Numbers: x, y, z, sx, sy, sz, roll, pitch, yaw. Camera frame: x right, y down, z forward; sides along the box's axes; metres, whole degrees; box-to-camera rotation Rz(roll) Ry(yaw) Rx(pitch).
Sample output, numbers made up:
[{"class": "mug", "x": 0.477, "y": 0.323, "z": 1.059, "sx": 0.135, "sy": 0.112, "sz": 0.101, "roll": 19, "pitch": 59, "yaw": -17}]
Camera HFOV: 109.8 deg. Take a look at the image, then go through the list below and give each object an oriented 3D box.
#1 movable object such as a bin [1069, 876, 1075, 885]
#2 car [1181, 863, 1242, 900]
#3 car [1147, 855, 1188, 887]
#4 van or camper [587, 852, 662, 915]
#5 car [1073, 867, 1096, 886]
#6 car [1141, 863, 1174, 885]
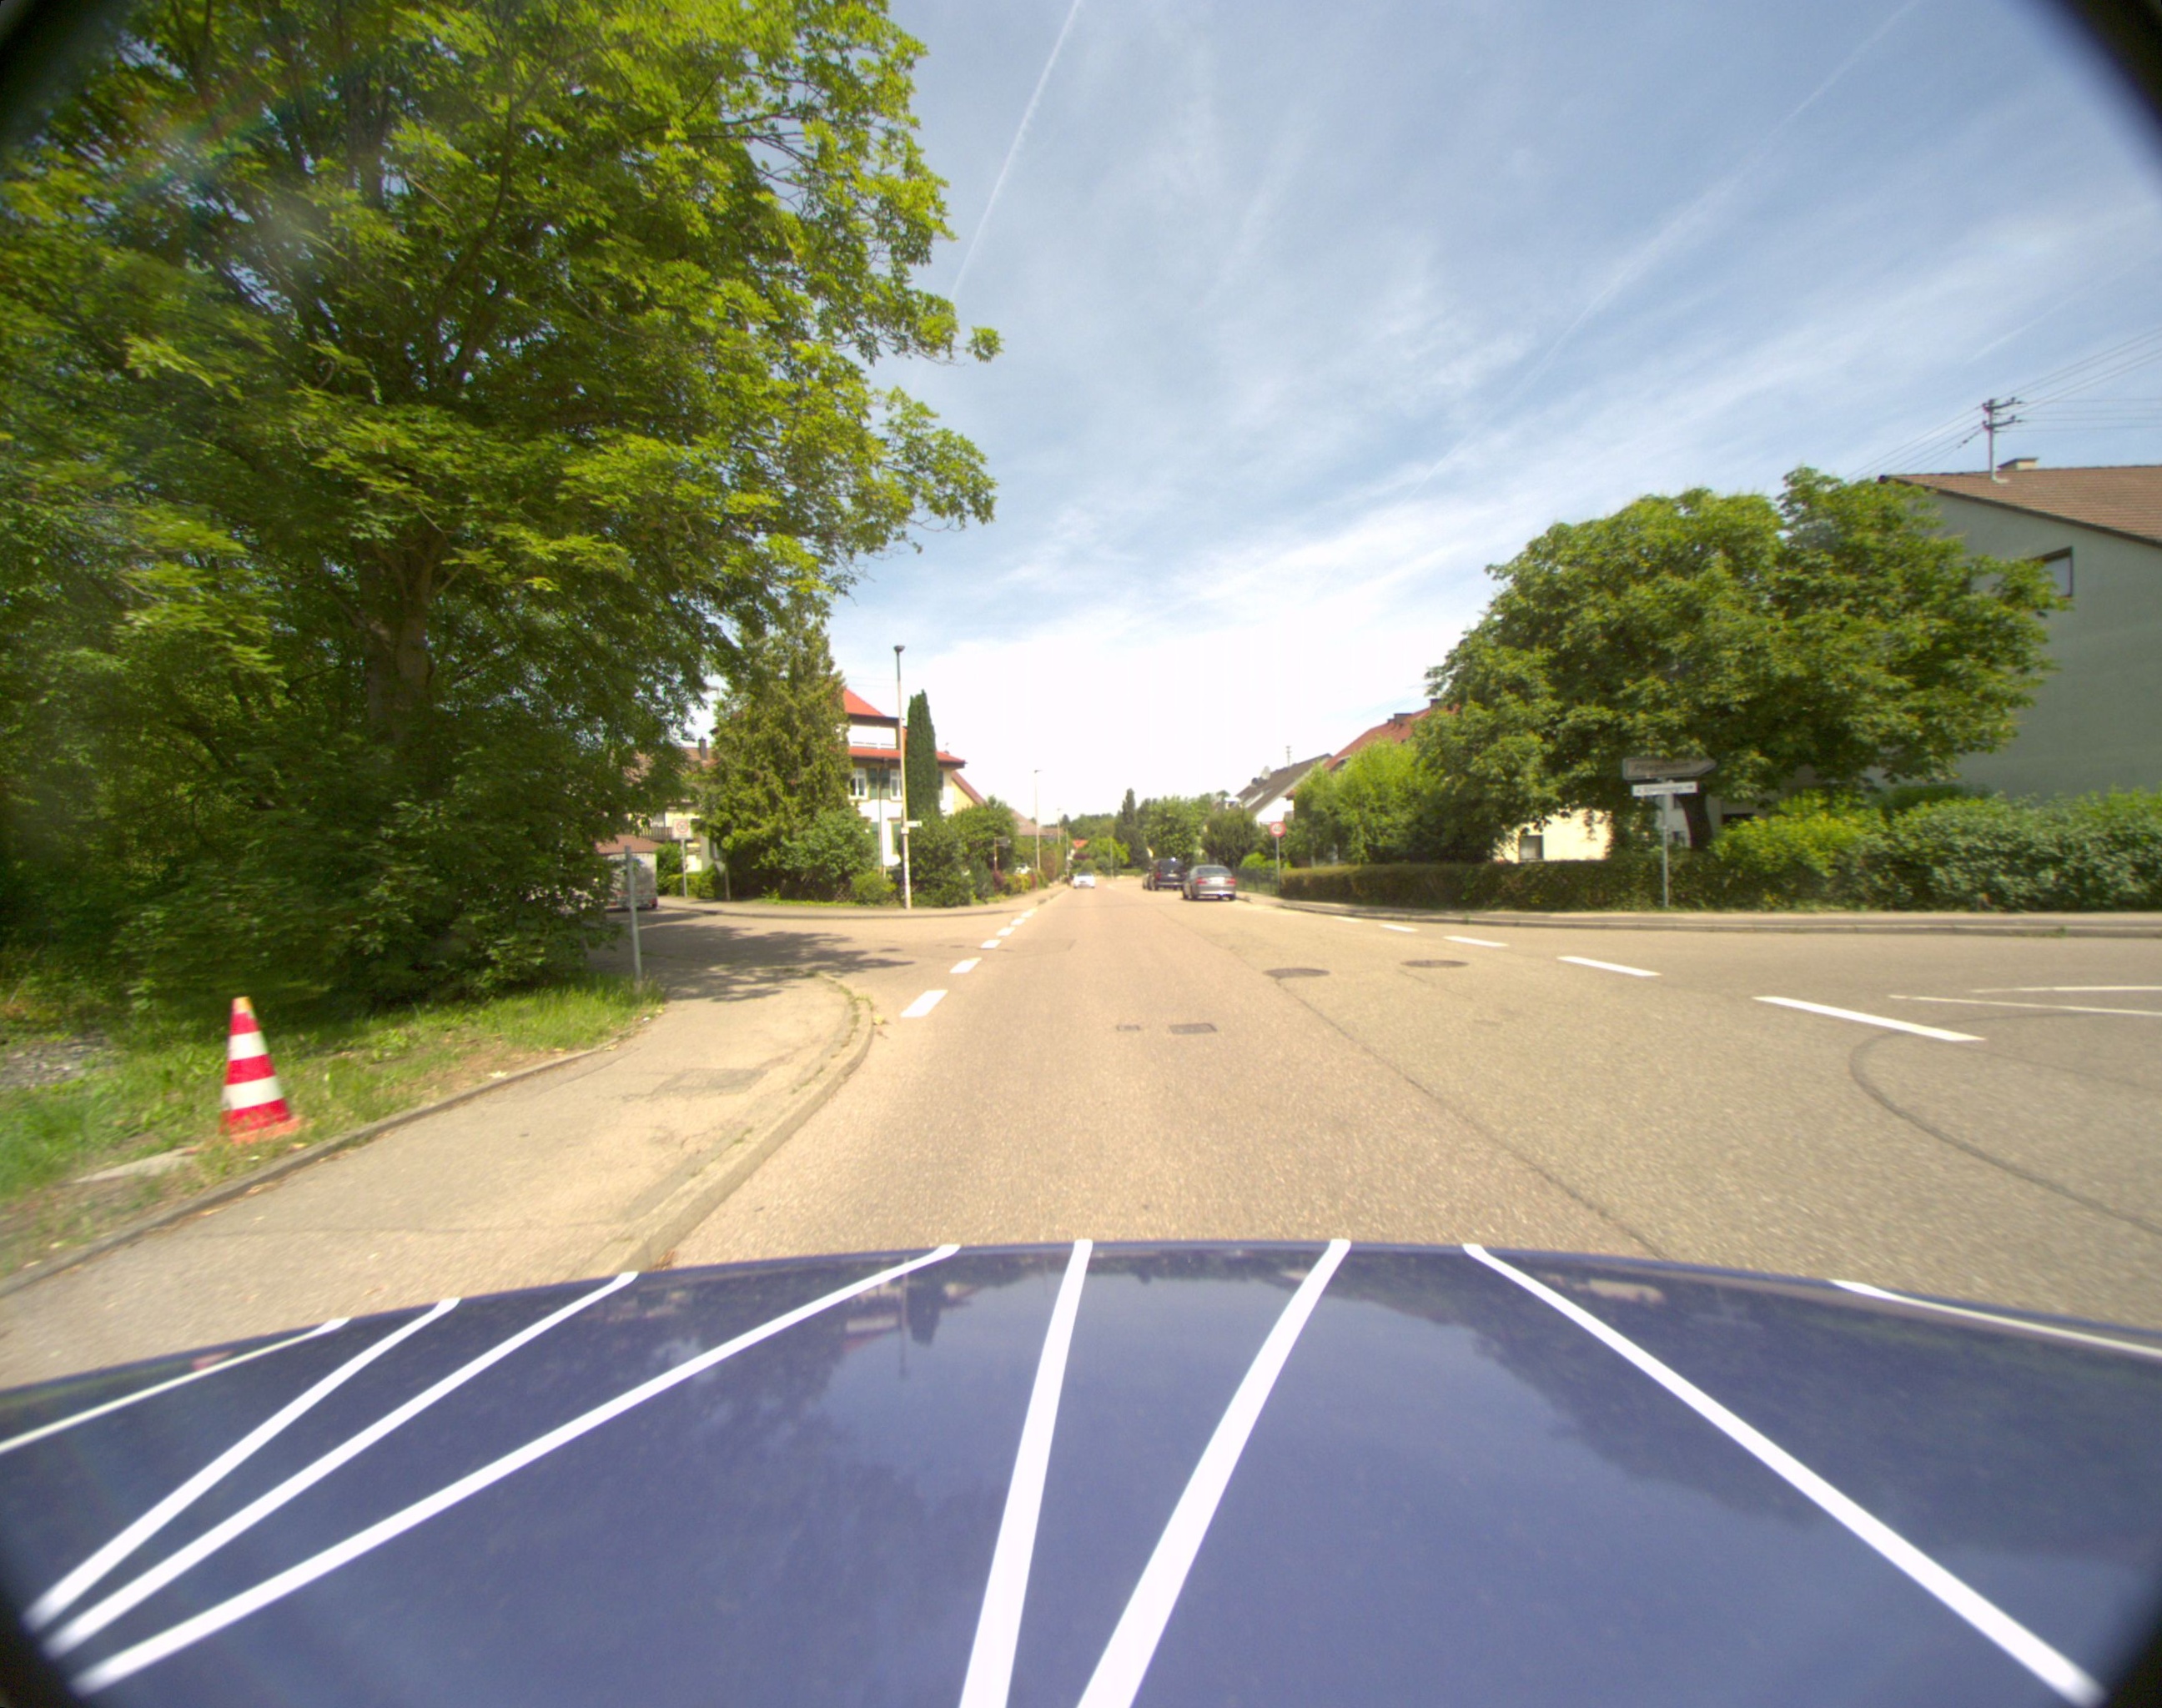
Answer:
[{"class": "movable object such as a bin", "x": -1.027, "y": 3.004, "z": 85.757, "sx": 0.590, "sy": 0.972, "sz": 0.786, "roll": 1, "pitch": -1, "yaw": 1}, {"class": "car", "x": 5.206, "y": 1.063, "z": 30.895, "sx": 1.784, "sy": 1.386, "sz": 4.410, "roll": 0, "pitch": -1, "yaw": 1}, {"class": "car", "x": 5.391, "y": 1.077, "z": 47.947, "sx": 1.901, "sy": 1.908, "sz": 4.871, "roll": 0, "pitch": -2, "yaw": -2}, {"class": "van or camper", "x": -17.359, "y": 1.059, "z": 28.862, "sx": 1.822, "sy": 2.128, "sz": 3.379, "roll": -5, "pitch": 3, "yaw": -39}, {"class": "car", "x": 0.315, "y": 1.939, "z": 66.073, "sx": 1.827, "sy": 1.542, "sz": 4.000, "roll": -1, "pitch": -1, "yaw": -2}, {"class": "car", "x": 5.568, "y": 1.481, "z": 55.700, "sx": 1.816, "sy": 1.540, "sz": 4.244, "roll": -1, "pitch": -2, "yaw": -1}]
